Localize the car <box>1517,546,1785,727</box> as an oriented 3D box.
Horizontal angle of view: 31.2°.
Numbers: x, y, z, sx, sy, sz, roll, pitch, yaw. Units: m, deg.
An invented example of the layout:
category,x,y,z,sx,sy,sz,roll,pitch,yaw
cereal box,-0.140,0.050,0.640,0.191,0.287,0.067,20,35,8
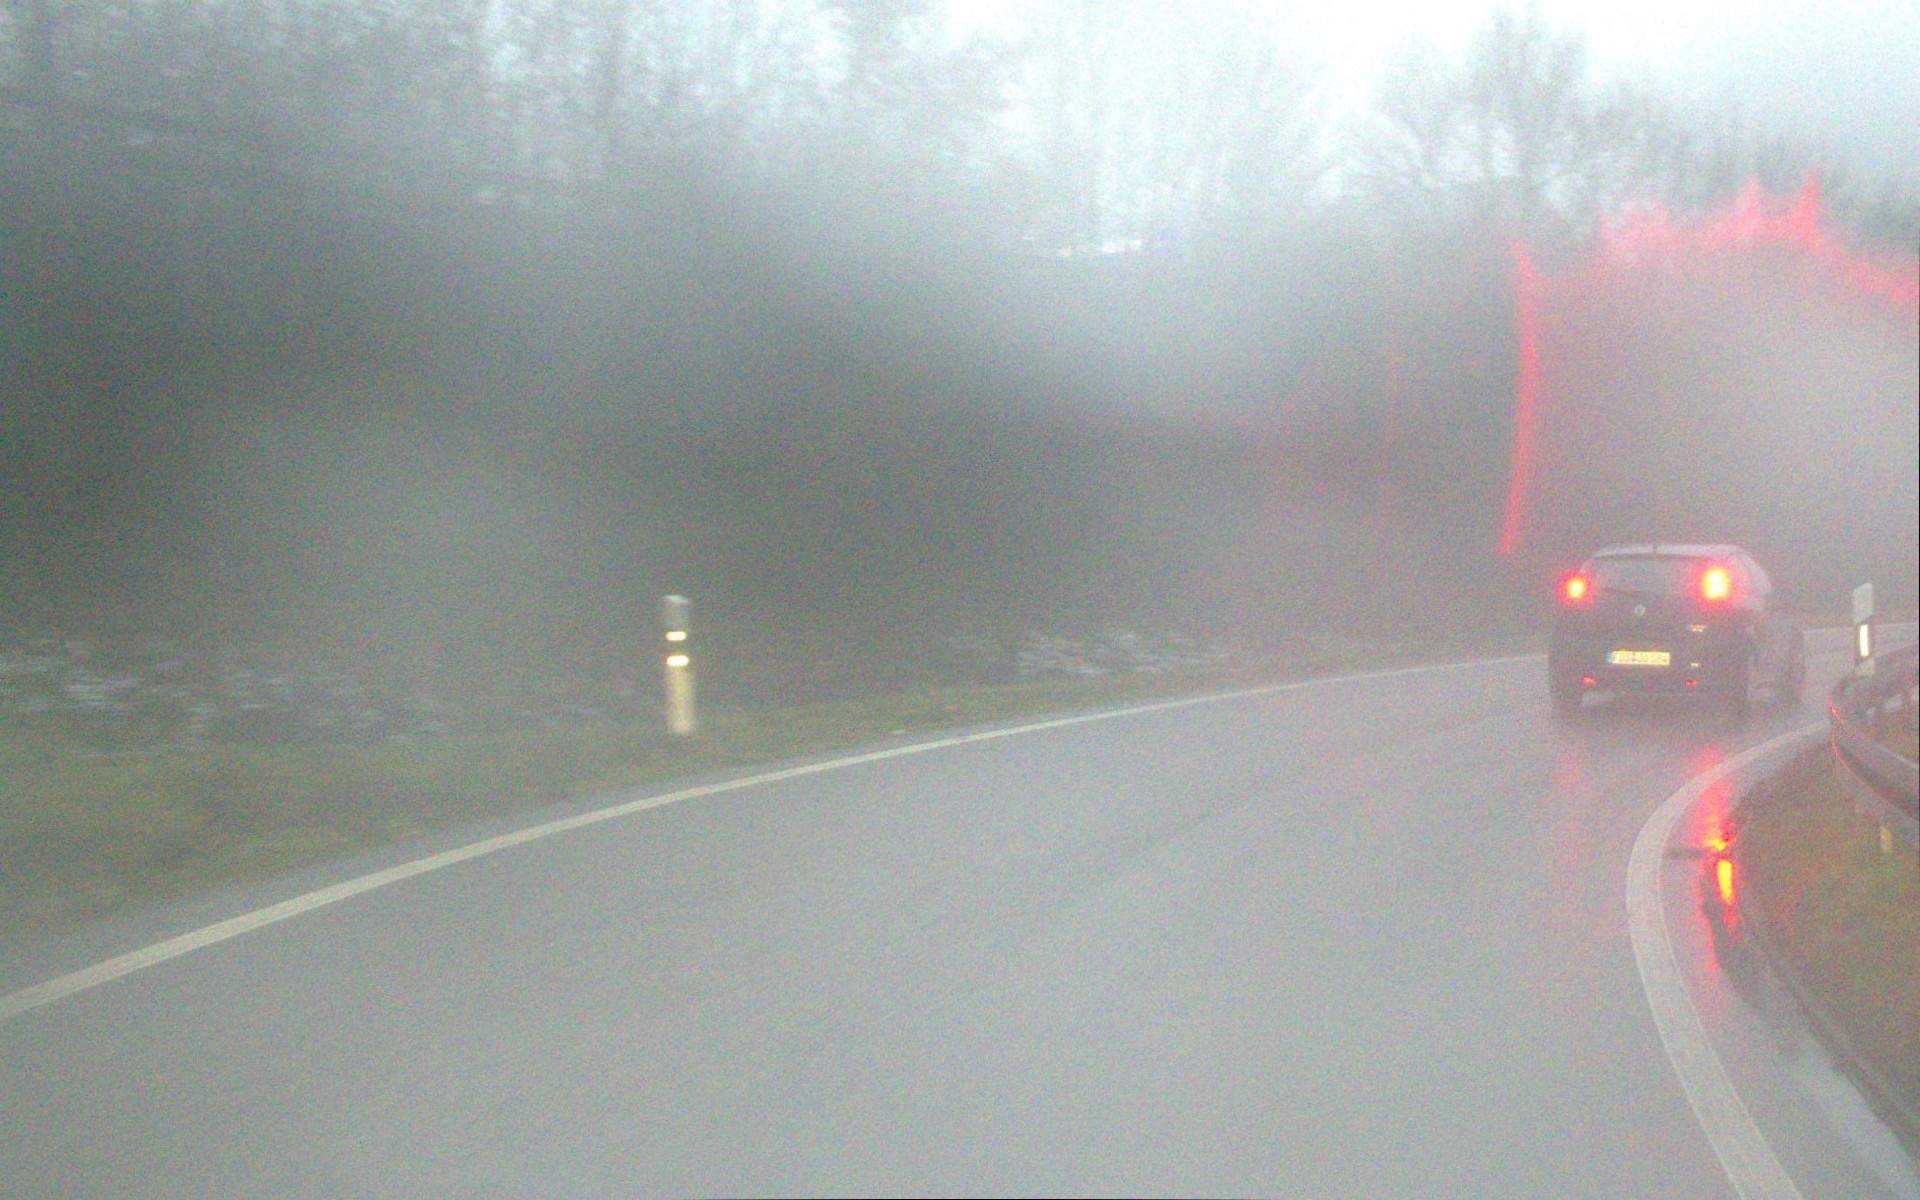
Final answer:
category,x,y,z,sx,sy,sz,roll,pitch,yaw
car,6.161,0.274,30.361,1.734,1.424,3.761,3,1,20
